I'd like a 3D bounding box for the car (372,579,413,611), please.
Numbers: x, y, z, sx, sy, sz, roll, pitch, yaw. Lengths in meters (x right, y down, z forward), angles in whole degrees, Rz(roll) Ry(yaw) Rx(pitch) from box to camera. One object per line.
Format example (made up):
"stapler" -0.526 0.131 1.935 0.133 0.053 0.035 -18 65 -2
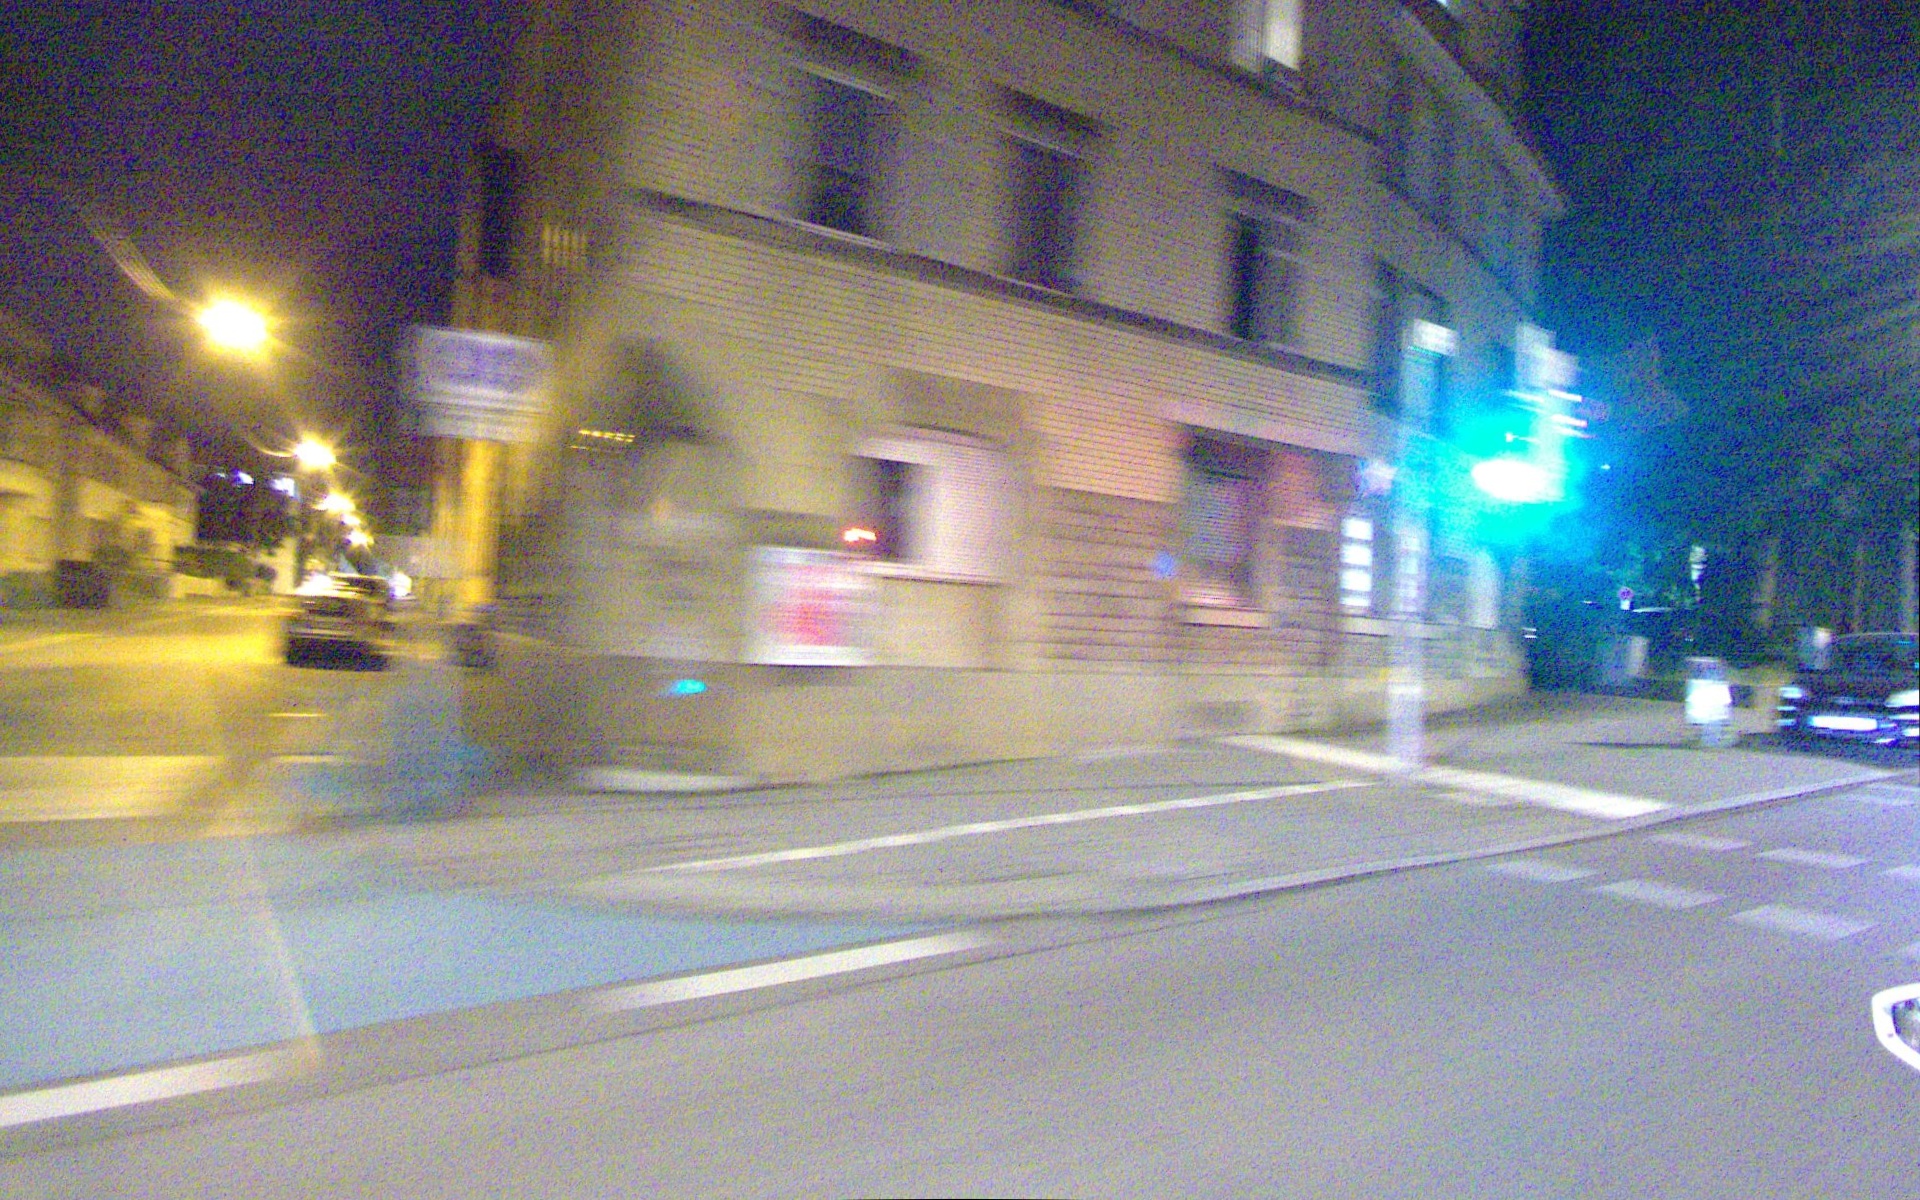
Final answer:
"car" -31.858 -0.303 56.466 1.914 1.719 3.907 2 0 -29

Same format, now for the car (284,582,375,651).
"car" -16.573 0.386 26.564 1.745 1.562 3.968 6 -2 -30

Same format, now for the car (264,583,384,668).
"car" -13.797 0.506 22.001 1.906 1.562 3.968 6 -2 -30

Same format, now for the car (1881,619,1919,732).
"car" 16.580 1.173 15.984 4.623 1.672 1.836 1 1 -35

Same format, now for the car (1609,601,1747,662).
"car" 20.918 0.923 29.244 4.141 1.558 1.746 2 2 -32

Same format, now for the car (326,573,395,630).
"car" -22.006 0.041 36.949 1.964 1.837 4.111 5 -2 -30

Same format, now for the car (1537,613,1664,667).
"car" 17.369 1.087 27.204 3.524 1.334 1.547 2 0 -33

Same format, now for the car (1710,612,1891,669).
"car" 26.218 1.226 31.516 1.736 1.444 3.980 2 2 -20

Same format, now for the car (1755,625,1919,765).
"car" 12.030 1.147 13.066 3.665 1.535 1.637 2 0 -35

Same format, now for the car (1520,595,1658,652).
"car" 20.365 0.768 32.552 3.922 1.627 1.753 2 2 -22
